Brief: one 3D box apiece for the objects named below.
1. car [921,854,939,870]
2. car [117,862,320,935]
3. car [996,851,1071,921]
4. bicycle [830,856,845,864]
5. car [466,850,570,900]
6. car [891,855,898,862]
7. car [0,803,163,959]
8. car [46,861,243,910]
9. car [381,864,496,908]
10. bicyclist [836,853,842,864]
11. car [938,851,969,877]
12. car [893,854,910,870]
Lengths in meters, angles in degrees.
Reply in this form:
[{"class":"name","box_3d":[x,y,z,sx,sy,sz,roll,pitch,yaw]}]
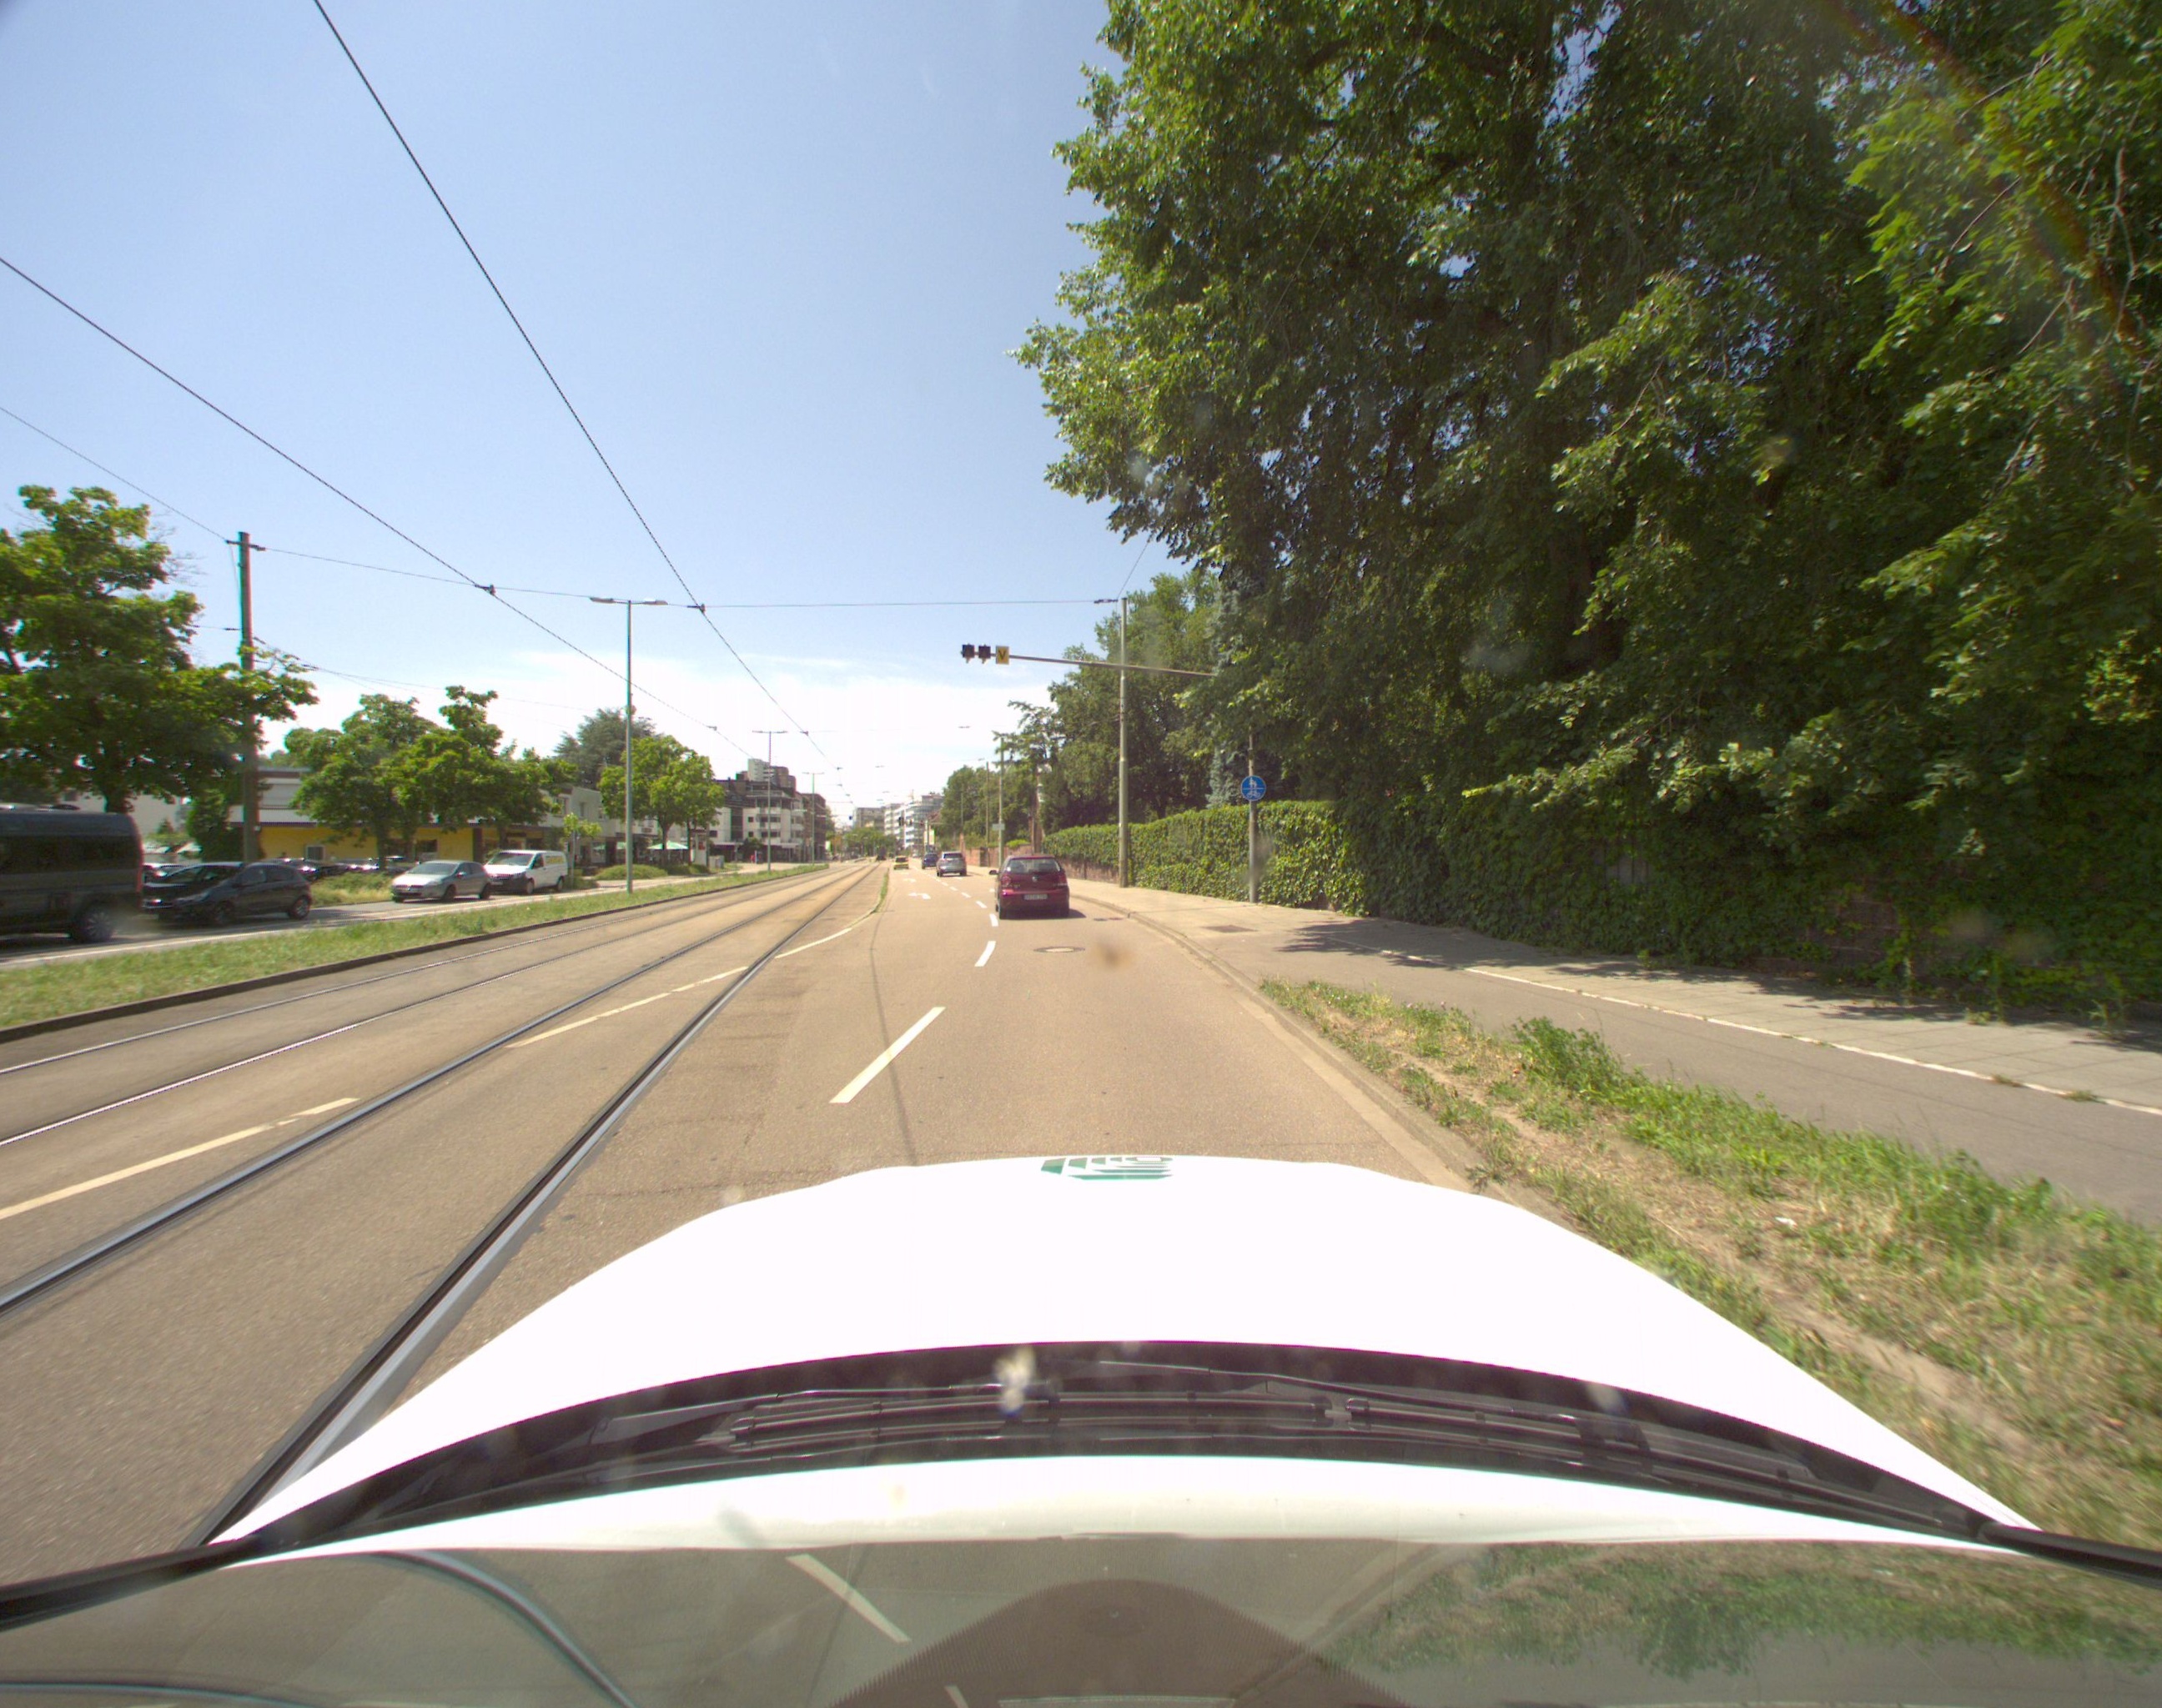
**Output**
[{"class":"car","box_3d":[-15.884,0.782,85.779,1.774,1.630,3.987,1,0,-9]},{"class":"car","box_3d":[-20.754,1.004,19.839,1.313,1.522,4.006,3,-1,-13]},{"class":"car","box_3d":[-1.207,0.695,19.861,1.607,1.498,3.993,-2,0,-5]},{"class":"bicycle","box_3d":[-45.274,1.189,151.609,2.523,1.419,0.632,-1,0,-27]},{"class":"car","box_3d":[-24.642,0.843,35.879,1.877,1.965,5.141,3,-1,-13]},{"class":"car","box_3d":[-35.910,0.824,156.986,1.355,1.252,2.959,1,0,-13]},{"class":"car","box_3d":[-19.606,0.407,13.619,2.401,2.656,6.145,3,-1,-13]},{"class":"car","box_3d":[-33.732,1.090,29.492,4.387,1.602,1.787,-1,0,-15]},{"class":"car","box_3d":[-23.146,1.101,29.532,1.632,1.420,3.852,2,0,-11]},{"class":"bicyclist","box_3d":[-45.123,0.851,151.691,0.961,2.091,0.845,-1,0,-26]},{"class":"car","box_3d":[-8.615,0.653,54.662,1.797,1.683,3.983,1,0,-13]},{"class":"car","box_3d":[-19.928,0.858,90.284,1.797,1.683,3.983,1,0,-13]}]
